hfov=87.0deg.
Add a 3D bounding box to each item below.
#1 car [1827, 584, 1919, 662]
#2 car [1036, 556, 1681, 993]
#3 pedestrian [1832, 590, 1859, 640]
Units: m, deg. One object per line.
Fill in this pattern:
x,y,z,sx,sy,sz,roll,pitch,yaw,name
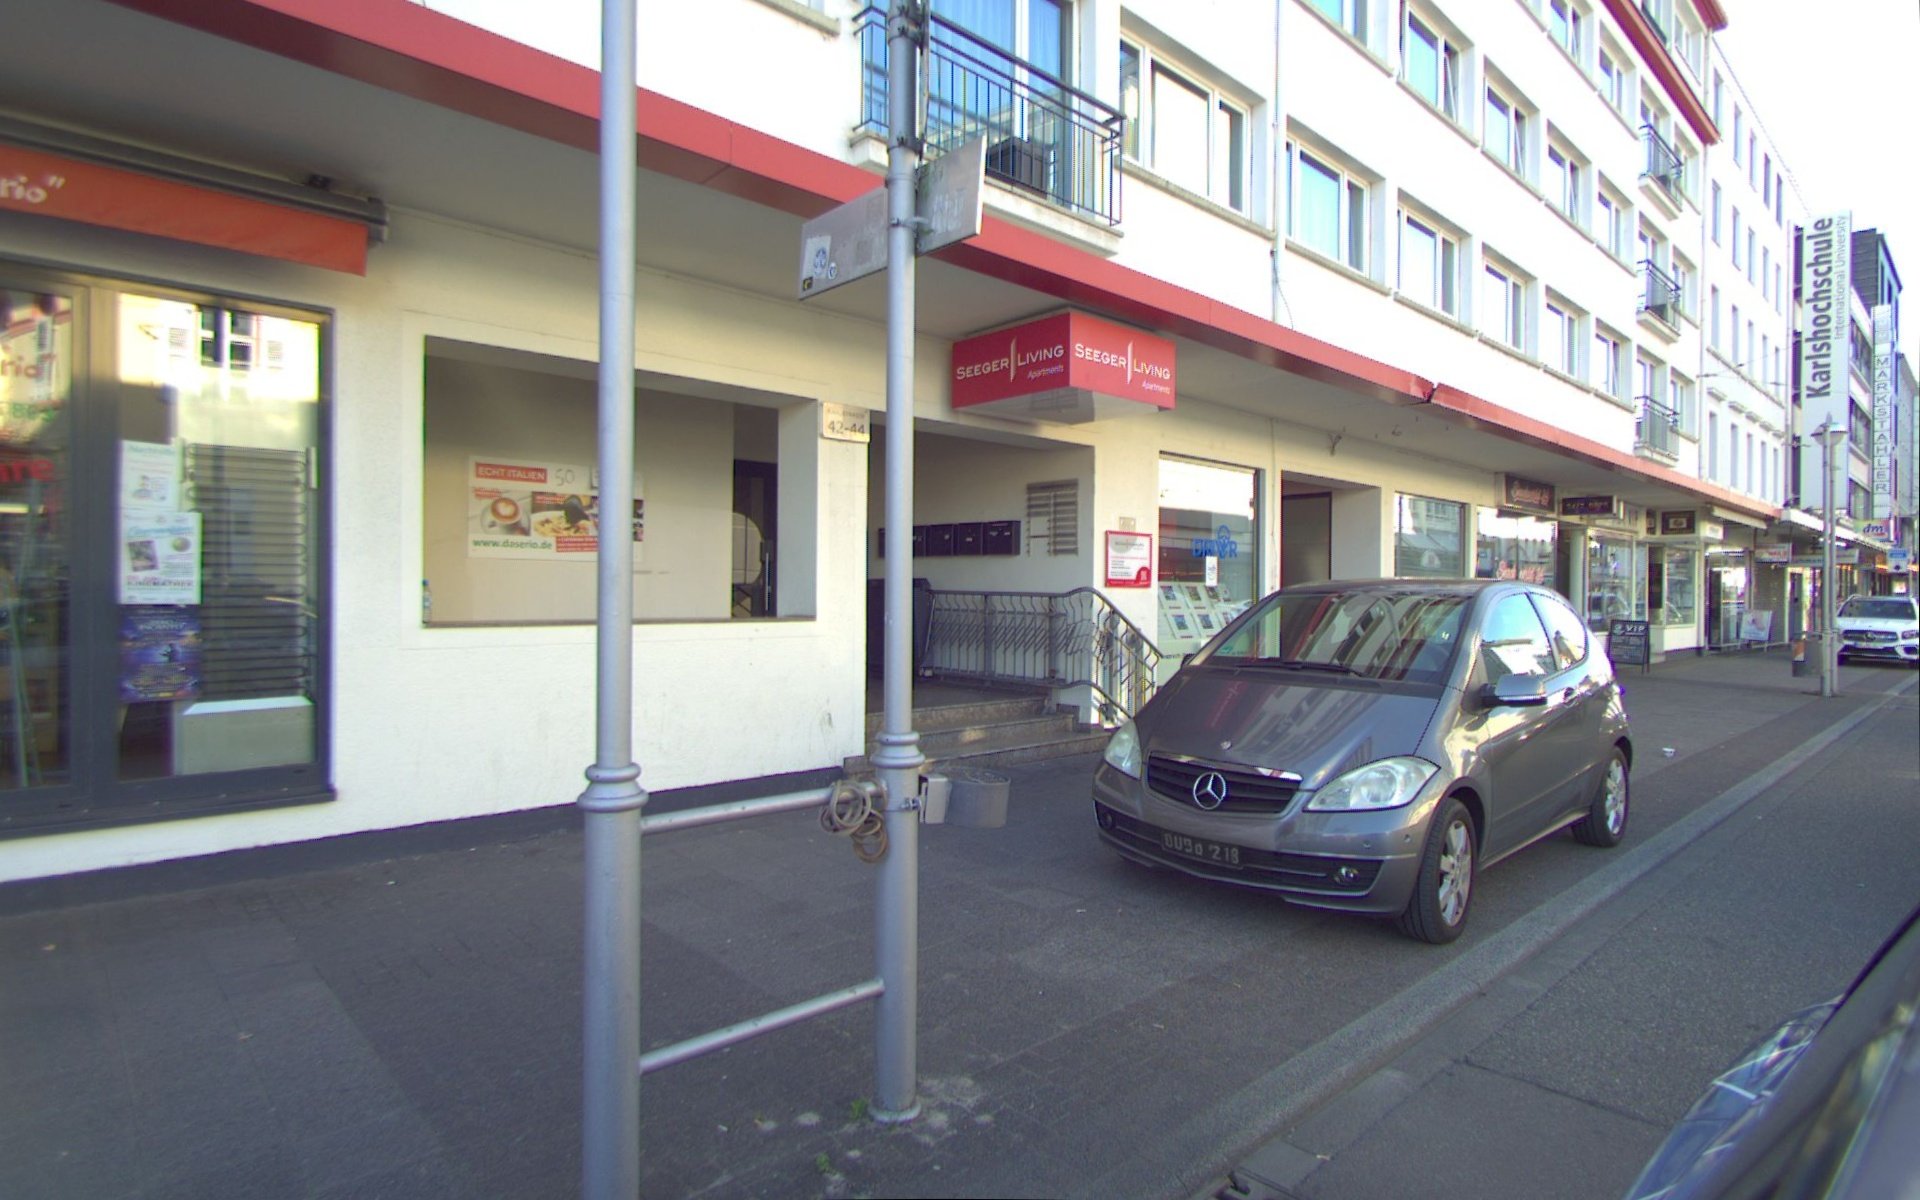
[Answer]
22.187,0.473,24.100,4.092,1.684,1.781,-1,2,-42,car
2.420,0.585,5.644,3.893,1.588,1.780,-1,2,-42,car
33.147,0.562,37.875,0.794,1.840,0.704,0,0,-44,pedestrian
